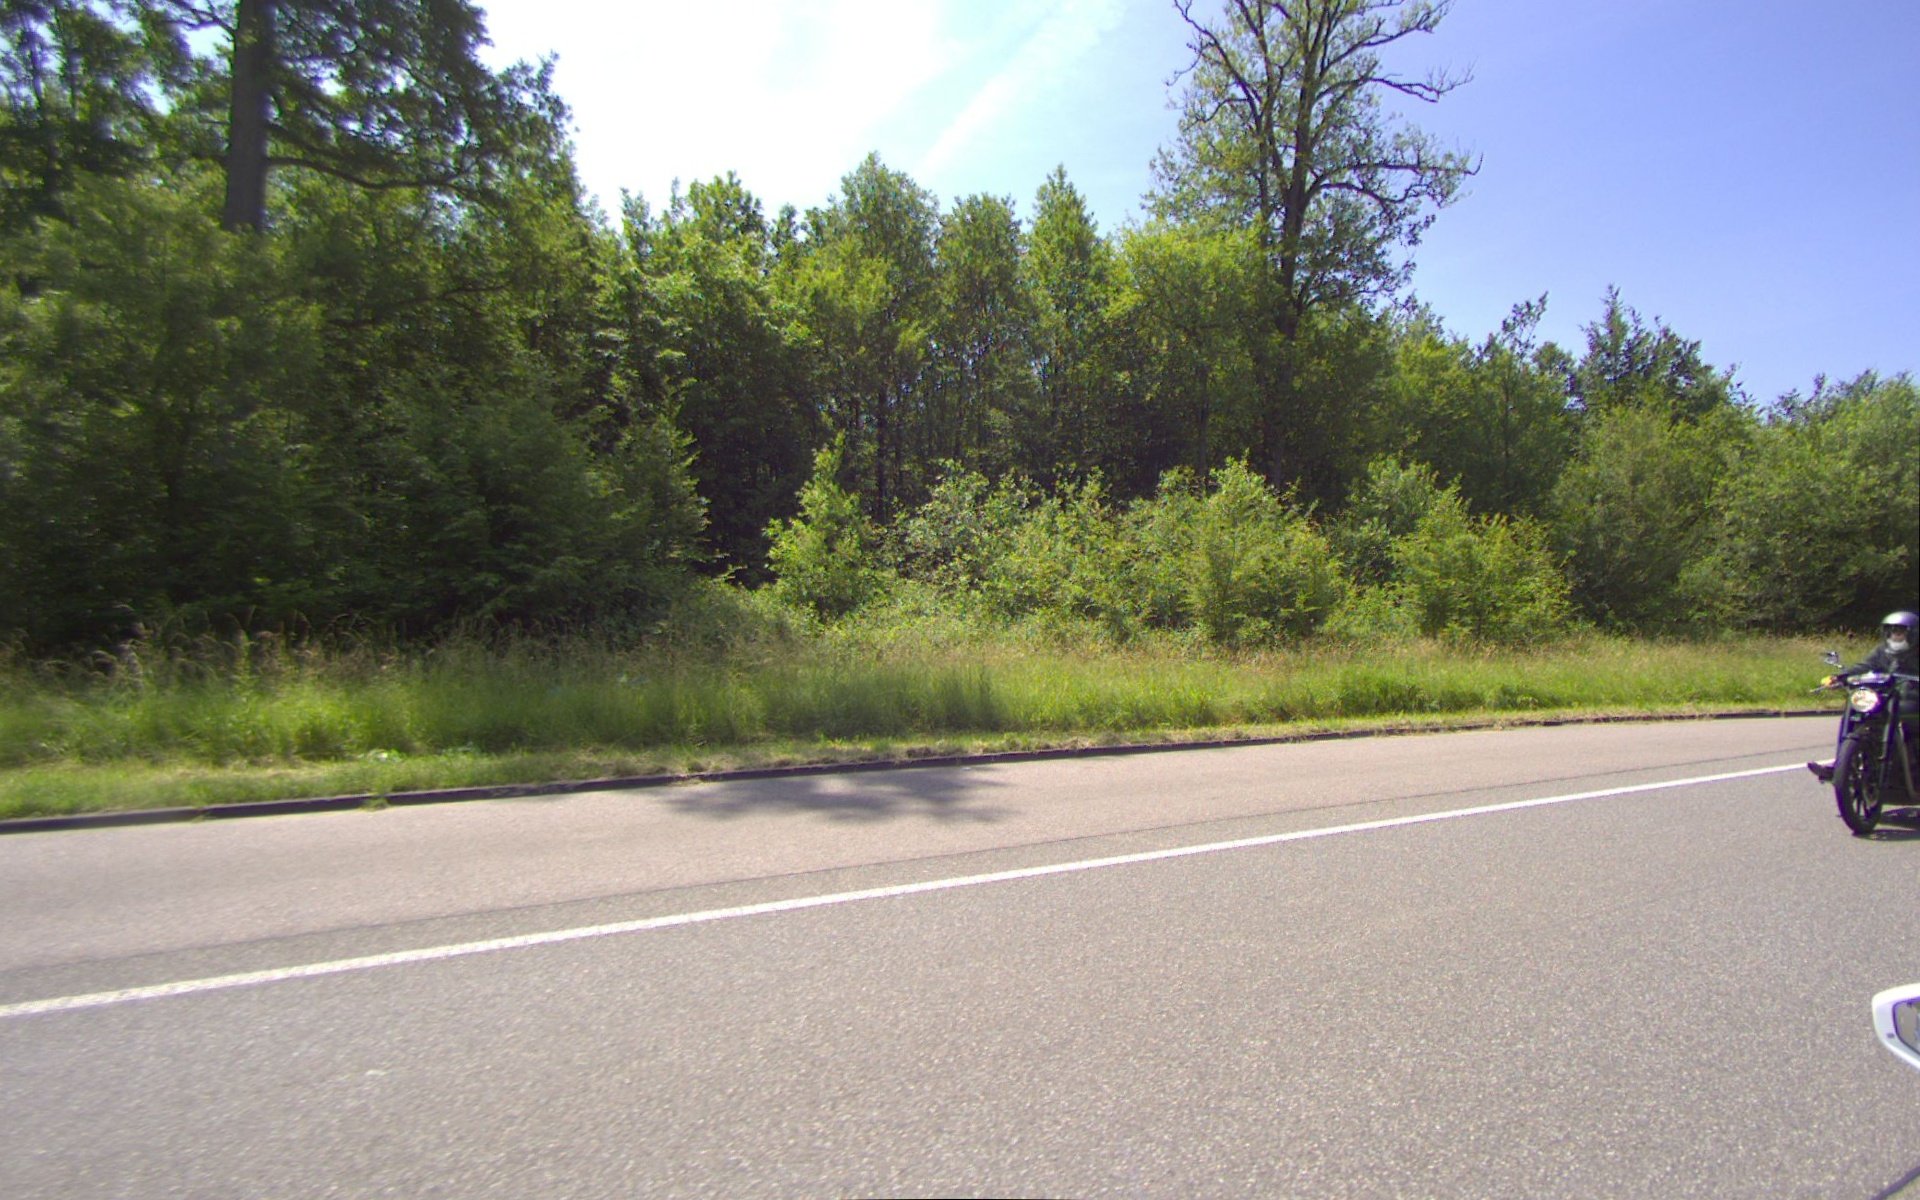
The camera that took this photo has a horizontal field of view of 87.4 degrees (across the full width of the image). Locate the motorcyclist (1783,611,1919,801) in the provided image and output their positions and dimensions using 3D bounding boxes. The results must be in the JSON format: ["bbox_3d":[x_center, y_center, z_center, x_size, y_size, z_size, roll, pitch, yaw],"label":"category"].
[{"bbox_3d":[7.181,0.775,7.715,0.953,1.345,1.006,1,0,-25],"label":"motorcyclist"}]

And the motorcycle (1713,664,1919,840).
[{"bbox_3d":[7.102,1.069,7.686,2.736,1.077,1.011,1,0,-26],"label":"motorcycle"}]
